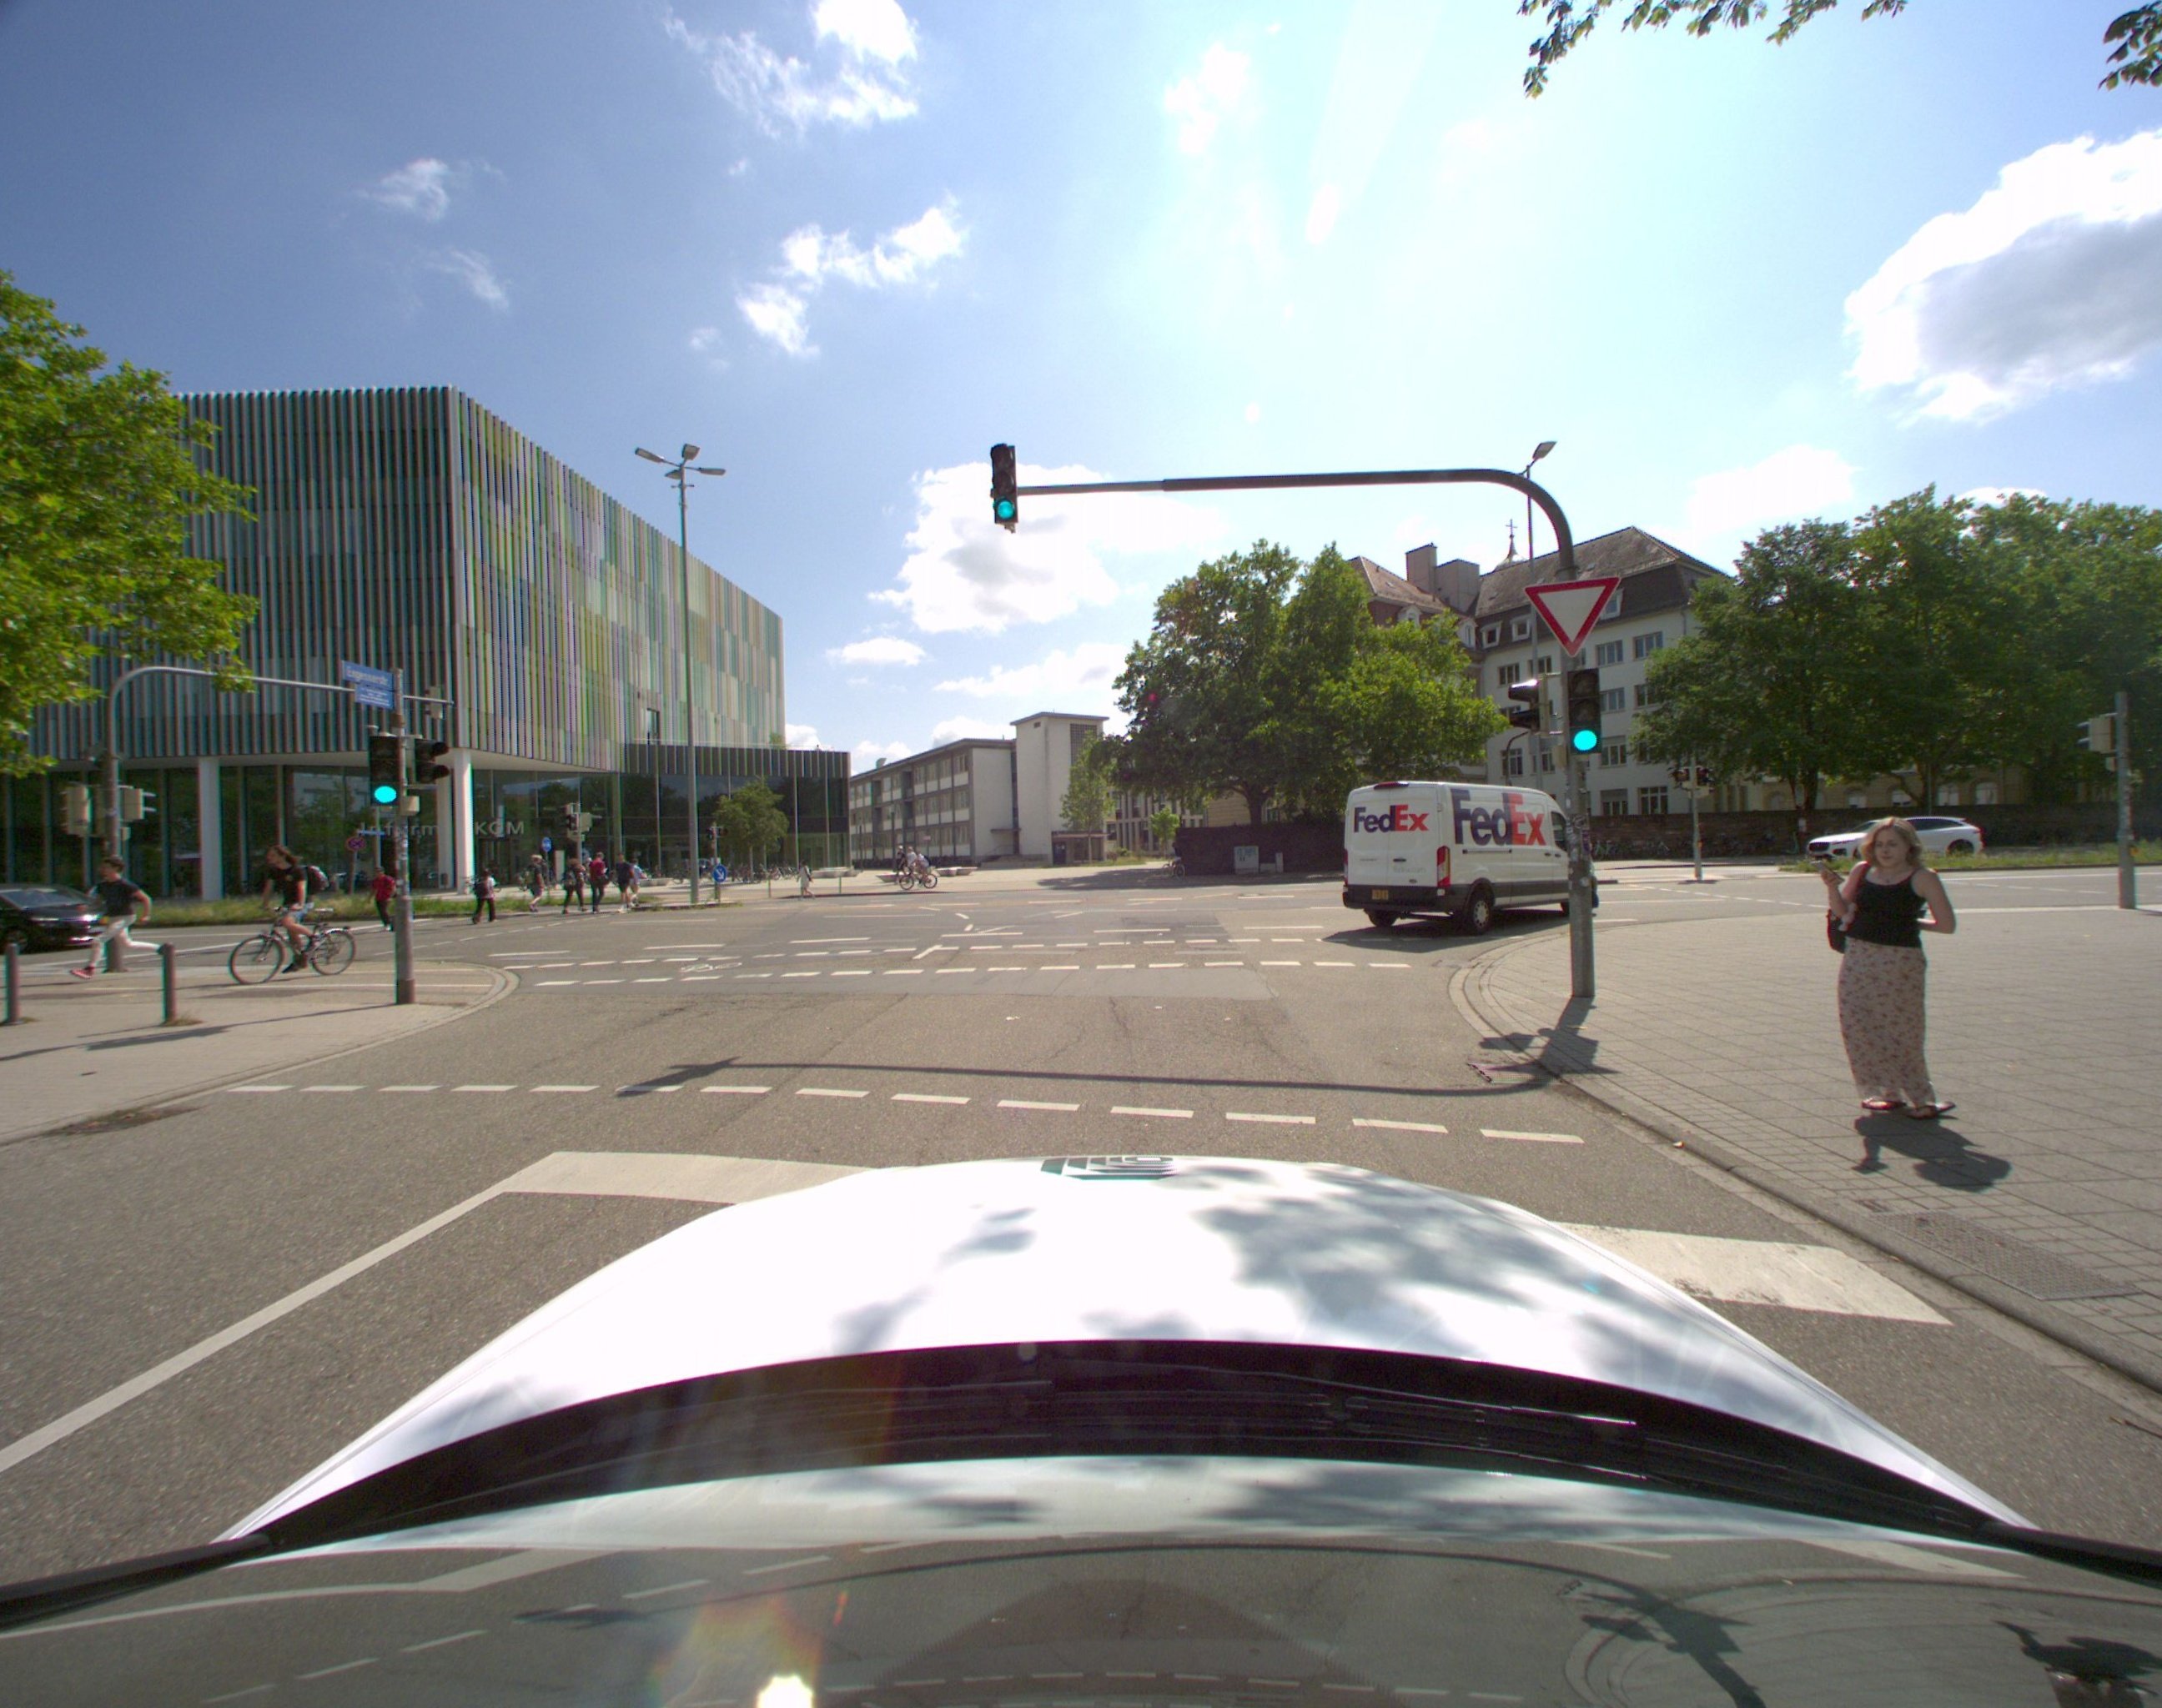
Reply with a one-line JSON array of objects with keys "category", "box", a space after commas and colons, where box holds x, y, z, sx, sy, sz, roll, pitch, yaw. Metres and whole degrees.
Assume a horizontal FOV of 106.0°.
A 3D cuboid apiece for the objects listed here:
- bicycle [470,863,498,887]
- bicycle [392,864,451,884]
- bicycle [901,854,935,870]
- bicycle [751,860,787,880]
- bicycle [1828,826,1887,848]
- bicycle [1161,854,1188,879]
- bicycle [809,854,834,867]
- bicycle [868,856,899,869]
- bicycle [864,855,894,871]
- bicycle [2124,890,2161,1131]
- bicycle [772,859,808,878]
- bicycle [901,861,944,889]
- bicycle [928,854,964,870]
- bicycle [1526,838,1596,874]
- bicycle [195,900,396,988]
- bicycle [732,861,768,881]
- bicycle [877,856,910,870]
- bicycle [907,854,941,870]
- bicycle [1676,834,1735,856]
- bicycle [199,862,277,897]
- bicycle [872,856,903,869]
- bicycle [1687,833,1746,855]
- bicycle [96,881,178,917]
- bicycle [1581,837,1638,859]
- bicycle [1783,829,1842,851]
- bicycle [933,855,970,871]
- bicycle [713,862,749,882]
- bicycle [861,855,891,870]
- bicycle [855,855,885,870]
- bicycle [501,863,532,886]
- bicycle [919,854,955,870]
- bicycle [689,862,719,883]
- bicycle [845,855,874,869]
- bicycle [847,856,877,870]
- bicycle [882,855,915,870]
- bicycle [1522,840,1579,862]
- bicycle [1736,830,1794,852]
[{"category": "bicycle", "box": [-33.169, 1.156, 45.291, 1.206, 1.237, 2.919, -1, 0, -36]}, {"category": "bicycle", "box": [-41.566, 1.255, 51.359, 2.906, 1.237, 1.018, -1, 0, 1]}, {"category": "bicycle", "box": [-15.435, 0.755, 77.357, 2.978, 1.363, 1.105, -1, 0, -36]}, {"category": "bicycle", "box": [-20.914, 1.077, 54.580, 1.208, 1.237, 2.915, -1, 0, -44]}, {"category": "bicycle", "box": [38.967, -0.842, 40.880, 2.376, 0.994, 0.753, -2, 0, -4]}, {"category": "bicycle", "box": [4.304, 0.568, 37.714, 0.550, 1.131, 2.165, -2, 0, -12]}, {"category": "bicycle", "box": [-32.934, 0.829, 103.420, 1.104, 1.574, 2.984, -1, 0, 29]}, {"category": "bicycle", "box": [-20.809, 0.895, 85.955, 2.978, 1.363, 1.105, -1, 0, -36]}, {"category": "bicycle", "box": [-21.753, 0.966, 87.722, 2.978, 1.574, 1.105, -1, 0, -36]}, {"category": "bicycle", "box": [4.943, 0.743, 3.051, 0.586, 1.127, 1.753, -5, -1, 30]}, {"category": "bicycle", "box": [-19.747, 0.969, 55.217, 1.208, 1.237, 2.915, -1, 0, -44]}, {"category": "bicycle", "box": [-7.091, 0.926, 36.467, 0.840, 1.145, 2.007, -2, 0, 25]}, {"category": "bicycle", "box": [-12.082, 0.714, 72.785, 2.978, 1.363, 1.105, -1, 0, -36]}, {"category": "bicycle", "box": [16.543, 0.069, 28.129, 1.965, 1.185, 0.685, -2, 0, 19]}, {"category": "bicycle", "box": [-11.730, 1.303, 12.259, 0.764, 1.122, 2.036, -2, -1, 20]}, {"category": "bicycle", "box": [-21.897, 1.123, 53.878, 1.208, 1.237, 2.915, -1, 0, -44]}, {"category": "bicycle", "box": [-19.074, 0.870, 82.895, 2.978, 1.363, 1.105, -1, 0, -36]}, {"category": "bicycle", "box": [-14.682, 0.735, 76.284, 2.978, 1.363, 1.105, -1, 0, -36]}, {"category": "bicycle", "box": [30.987, -0.469, 40.430, 2.374, 0.994, 0.753, -2, 0, -2]}, {"category": "bicycle", "box": [-47.610, 1.424, 46.058, 1.008, 1.838, 2.961, -1, 0, 12]}, {"category": "bicycle", "box": [-20.147, 0.879, 84.761, 2.978, 1.363, 1.105, -1, 0, -36]}, {"category": "bicycle", "box": [31.569, -0.512, 40.451, 2.374, 0.994, 0.724, -2, 0, -2]}, {"category": "bicycle", "box": [-52.406, 2.478, 45.290, 0.955, 1.838, 2.955, -1, 0, 5]}, {"category": "bicycle", "box": [25.939, -0.279, 39.990, 2.374, 0.994, 0.724, -2, 0, -2]}, {"category": "bicycle", "box": [36.503, -0.711, 40.638, 2.376, 0.994, 0.753, -2, 0, -4]}, {"category": "bicycle", "box": [-11.377, 0.804, 71.669, 2.978, 1.363, 1.105, -1, 0, -36]}, {"category": "bicycle", "box": [-22.802, 1.148, 52.982, 1.208, 1.237, 2.915, -1, 0, -44]}, {"category": "bicycle", "box": [-22.380, 0.945, 88.776, 2.978, 1.574, 1.105, -1, 0, -36]}, {"category": "bicycle", "box": [-23.449, 0.969, 90.583, 2.978, 1.574, 1.105, -1, 0, -36]}, {"category": "bicycle", "box": [-31.932, 1.153, 46.079, 1.384, 1.237, 2.919, -1, 0, -35]}, {"category": "bicycle", "box": [-13.085, 0.737, 74.070, 2.978, 1.363, 1.262, -1, 0, -36]}, {"category": "bicycle", "box": [-24.301, 1.175, 52.412, 1.206, 1.237, 2.919, -1, 0, -35]}, {"category": "bicycle", "box": [-25.301, 0.925, 92.934, 2.978, 1.574, 1.105, -1, 0, -36]}, {"category": "bicycle", "box": [-24.657, 0.995, 91.735, 2.978, 1.574, 1.105, -1, 0, -36]}, {"category": "bicycle", "box": [-18.225, 0.851, 81.393, 2.978, 1.363, 1.105, -1, 0, -36]}, {"category": "bicycle", "box": [22.946, -0.158, 39.802, 2.374, 0.994, 0.696, -2, 0, -2]}, {"category": "bicycle", "box": [33.996, -0.622, 40.475, 2.377, 0.994, 0.753, -2, 0, -5]}]
